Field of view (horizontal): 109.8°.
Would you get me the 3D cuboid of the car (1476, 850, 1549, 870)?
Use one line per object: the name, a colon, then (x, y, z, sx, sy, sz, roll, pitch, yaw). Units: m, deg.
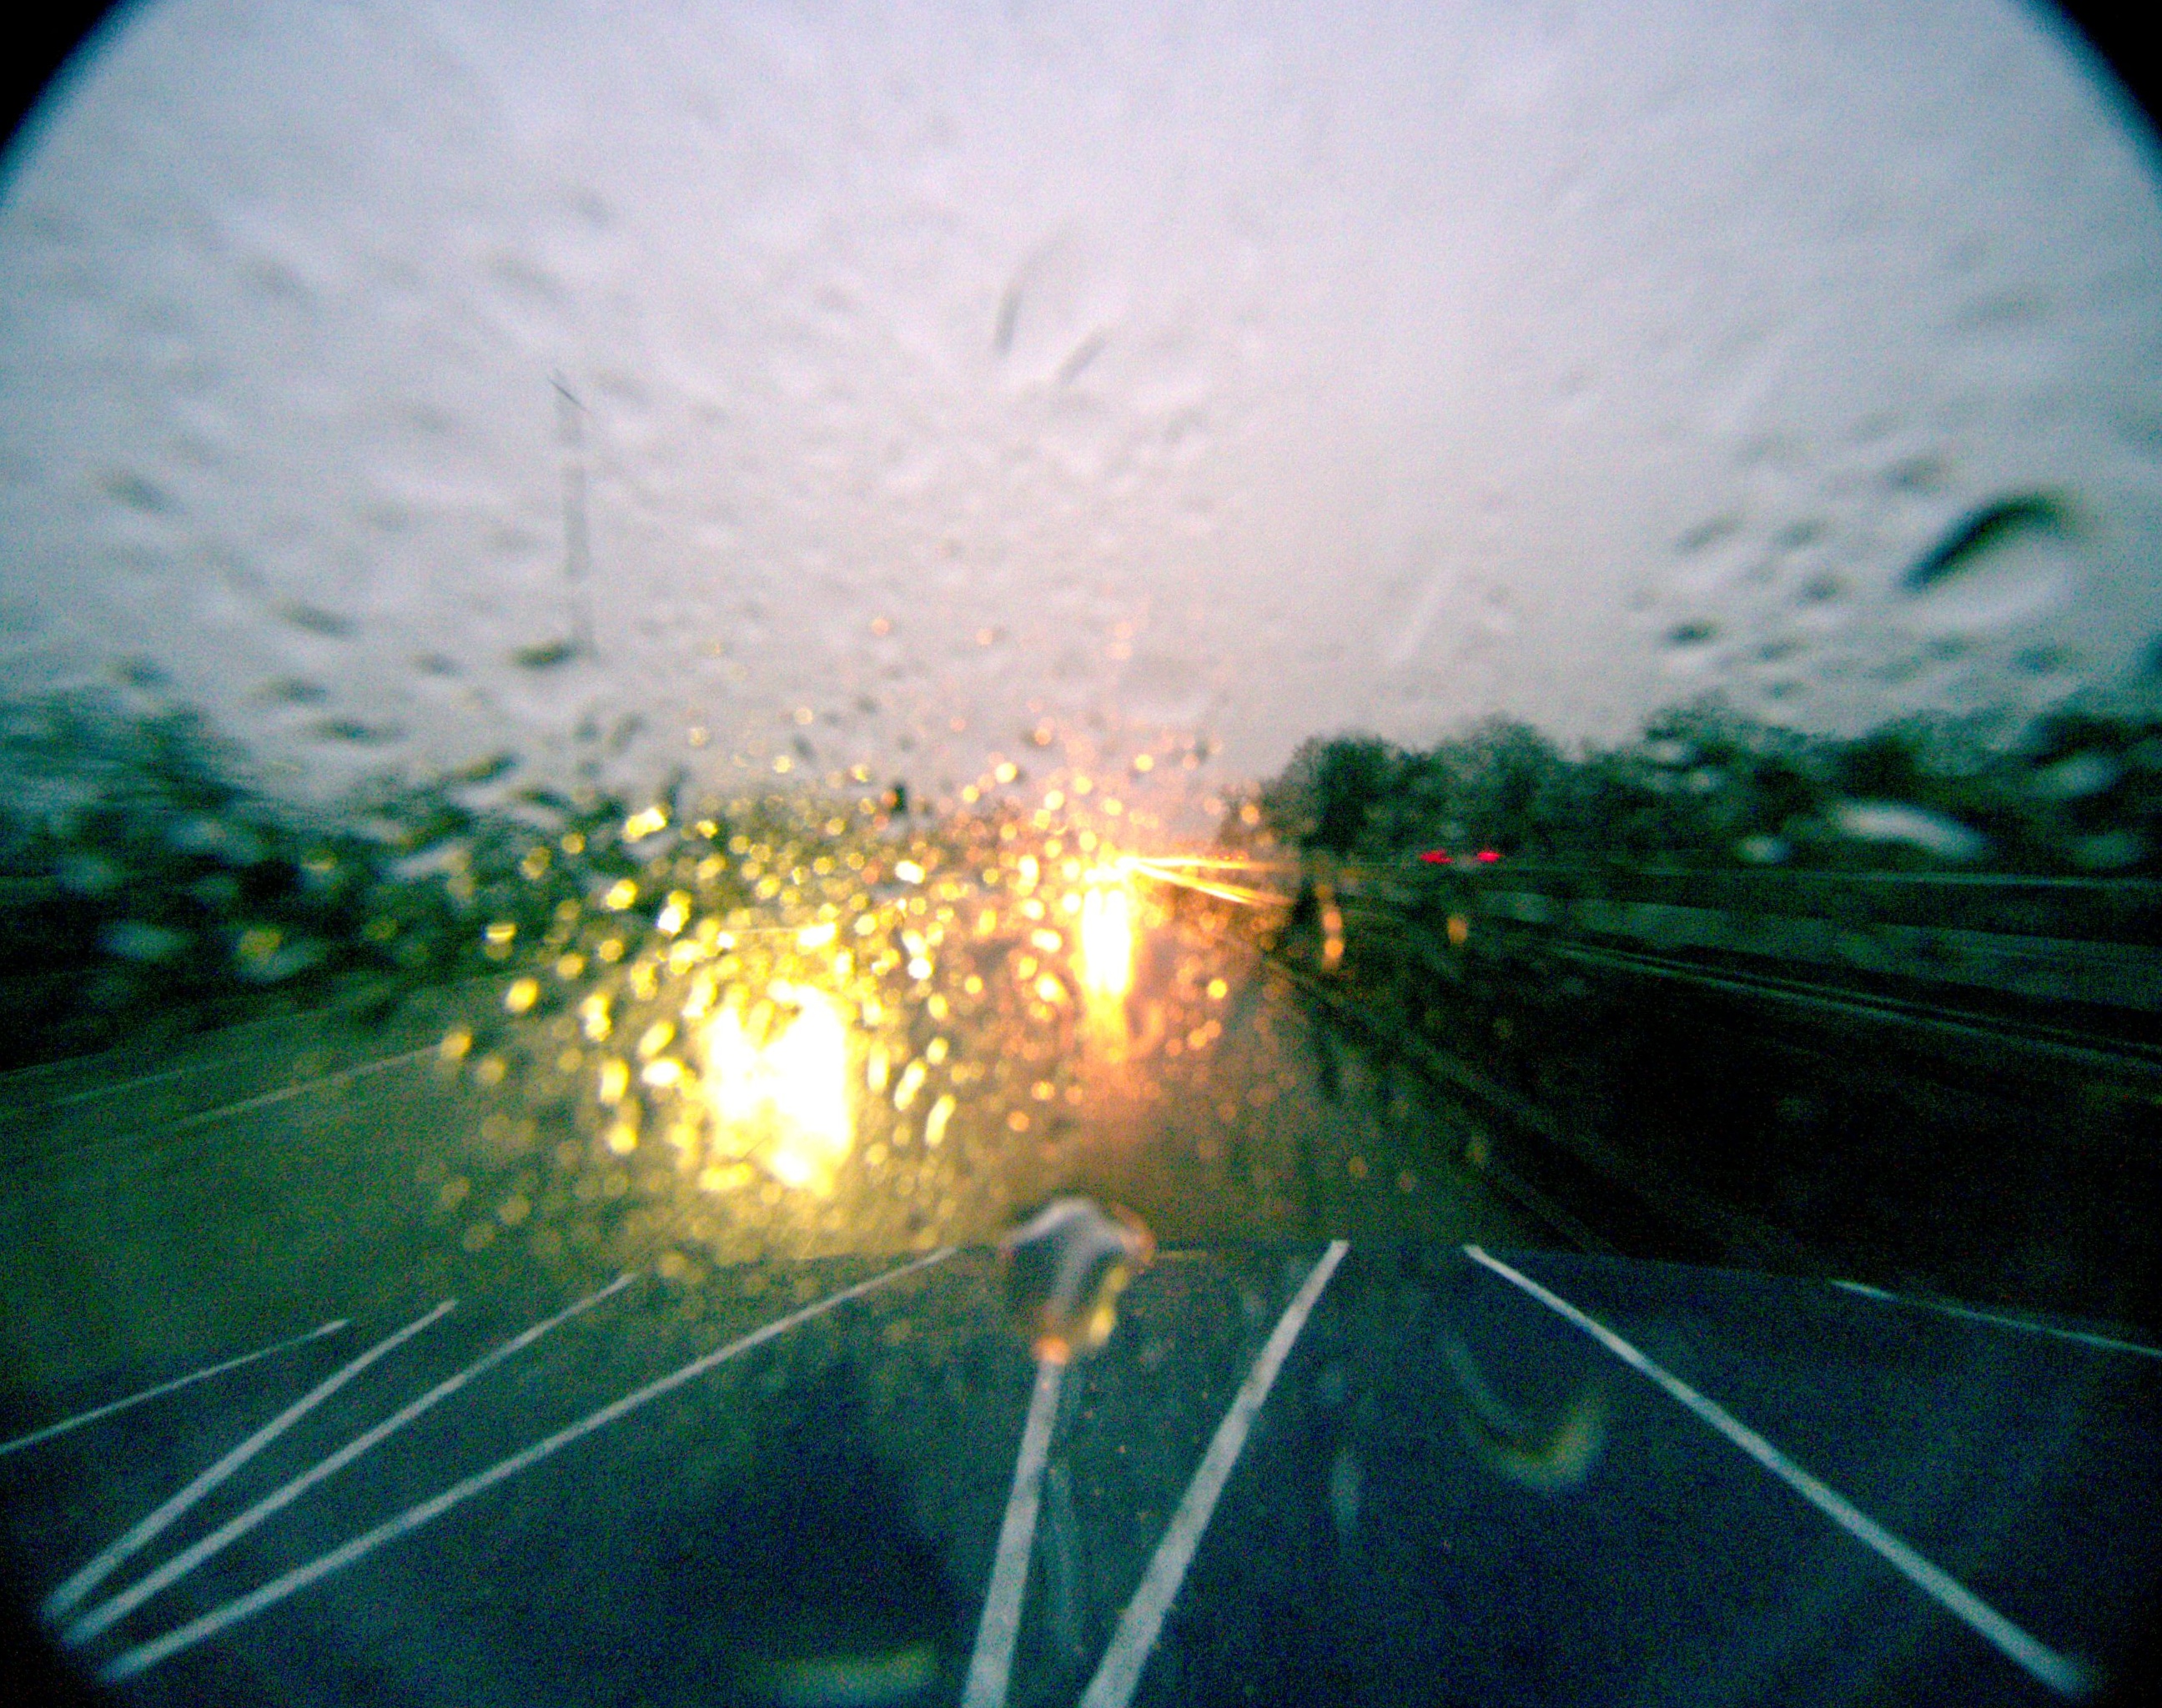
car: (28.336, 0.421, 49.883, 3.989, 1.155, 1.806, -2, 1, 35)

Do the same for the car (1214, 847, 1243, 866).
car: (13.445, 0.238, 69.565, 1.870, 1.618, 4.779, -2, 0, 2)

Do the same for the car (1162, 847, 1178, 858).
car: (12.735, -0.187, 109.307, 1.870, 1.441, 4.646, -2, 0, 2)

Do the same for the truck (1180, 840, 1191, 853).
truck: (34.404, -2.545, 250.207, 3.084, 3.834, 9.372, -4, 0, 6)

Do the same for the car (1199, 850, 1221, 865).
car: (14.989, 0.346, 88.350, 1.870, 1.618, 4.646, -2, 0, 2)

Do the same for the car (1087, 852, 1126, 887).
car: (1.197, 0.720, 37.398, 1.758, 1.521, 4.000, -2, 0, 0)

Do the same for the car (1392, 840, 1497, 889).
car: (11.979, 0.321, 25.313, 1.701, 1.433, 3.681, -2, 0, 0)

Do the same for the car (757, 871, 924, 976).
car: (-4.030, 1.084, 13.456, 1.595, 1.445, 4.176, -2, 0, 0)

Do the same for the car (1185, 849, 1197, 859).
car: (18.770, 0.011, 129.841, 1.731, 1.598, 4.179, -2, 0, 3)

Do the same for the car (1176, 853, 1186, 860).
car: (24.104, 0.598, 183.219, 1.998, 1.505, 4.285, -2, 0, 5)
